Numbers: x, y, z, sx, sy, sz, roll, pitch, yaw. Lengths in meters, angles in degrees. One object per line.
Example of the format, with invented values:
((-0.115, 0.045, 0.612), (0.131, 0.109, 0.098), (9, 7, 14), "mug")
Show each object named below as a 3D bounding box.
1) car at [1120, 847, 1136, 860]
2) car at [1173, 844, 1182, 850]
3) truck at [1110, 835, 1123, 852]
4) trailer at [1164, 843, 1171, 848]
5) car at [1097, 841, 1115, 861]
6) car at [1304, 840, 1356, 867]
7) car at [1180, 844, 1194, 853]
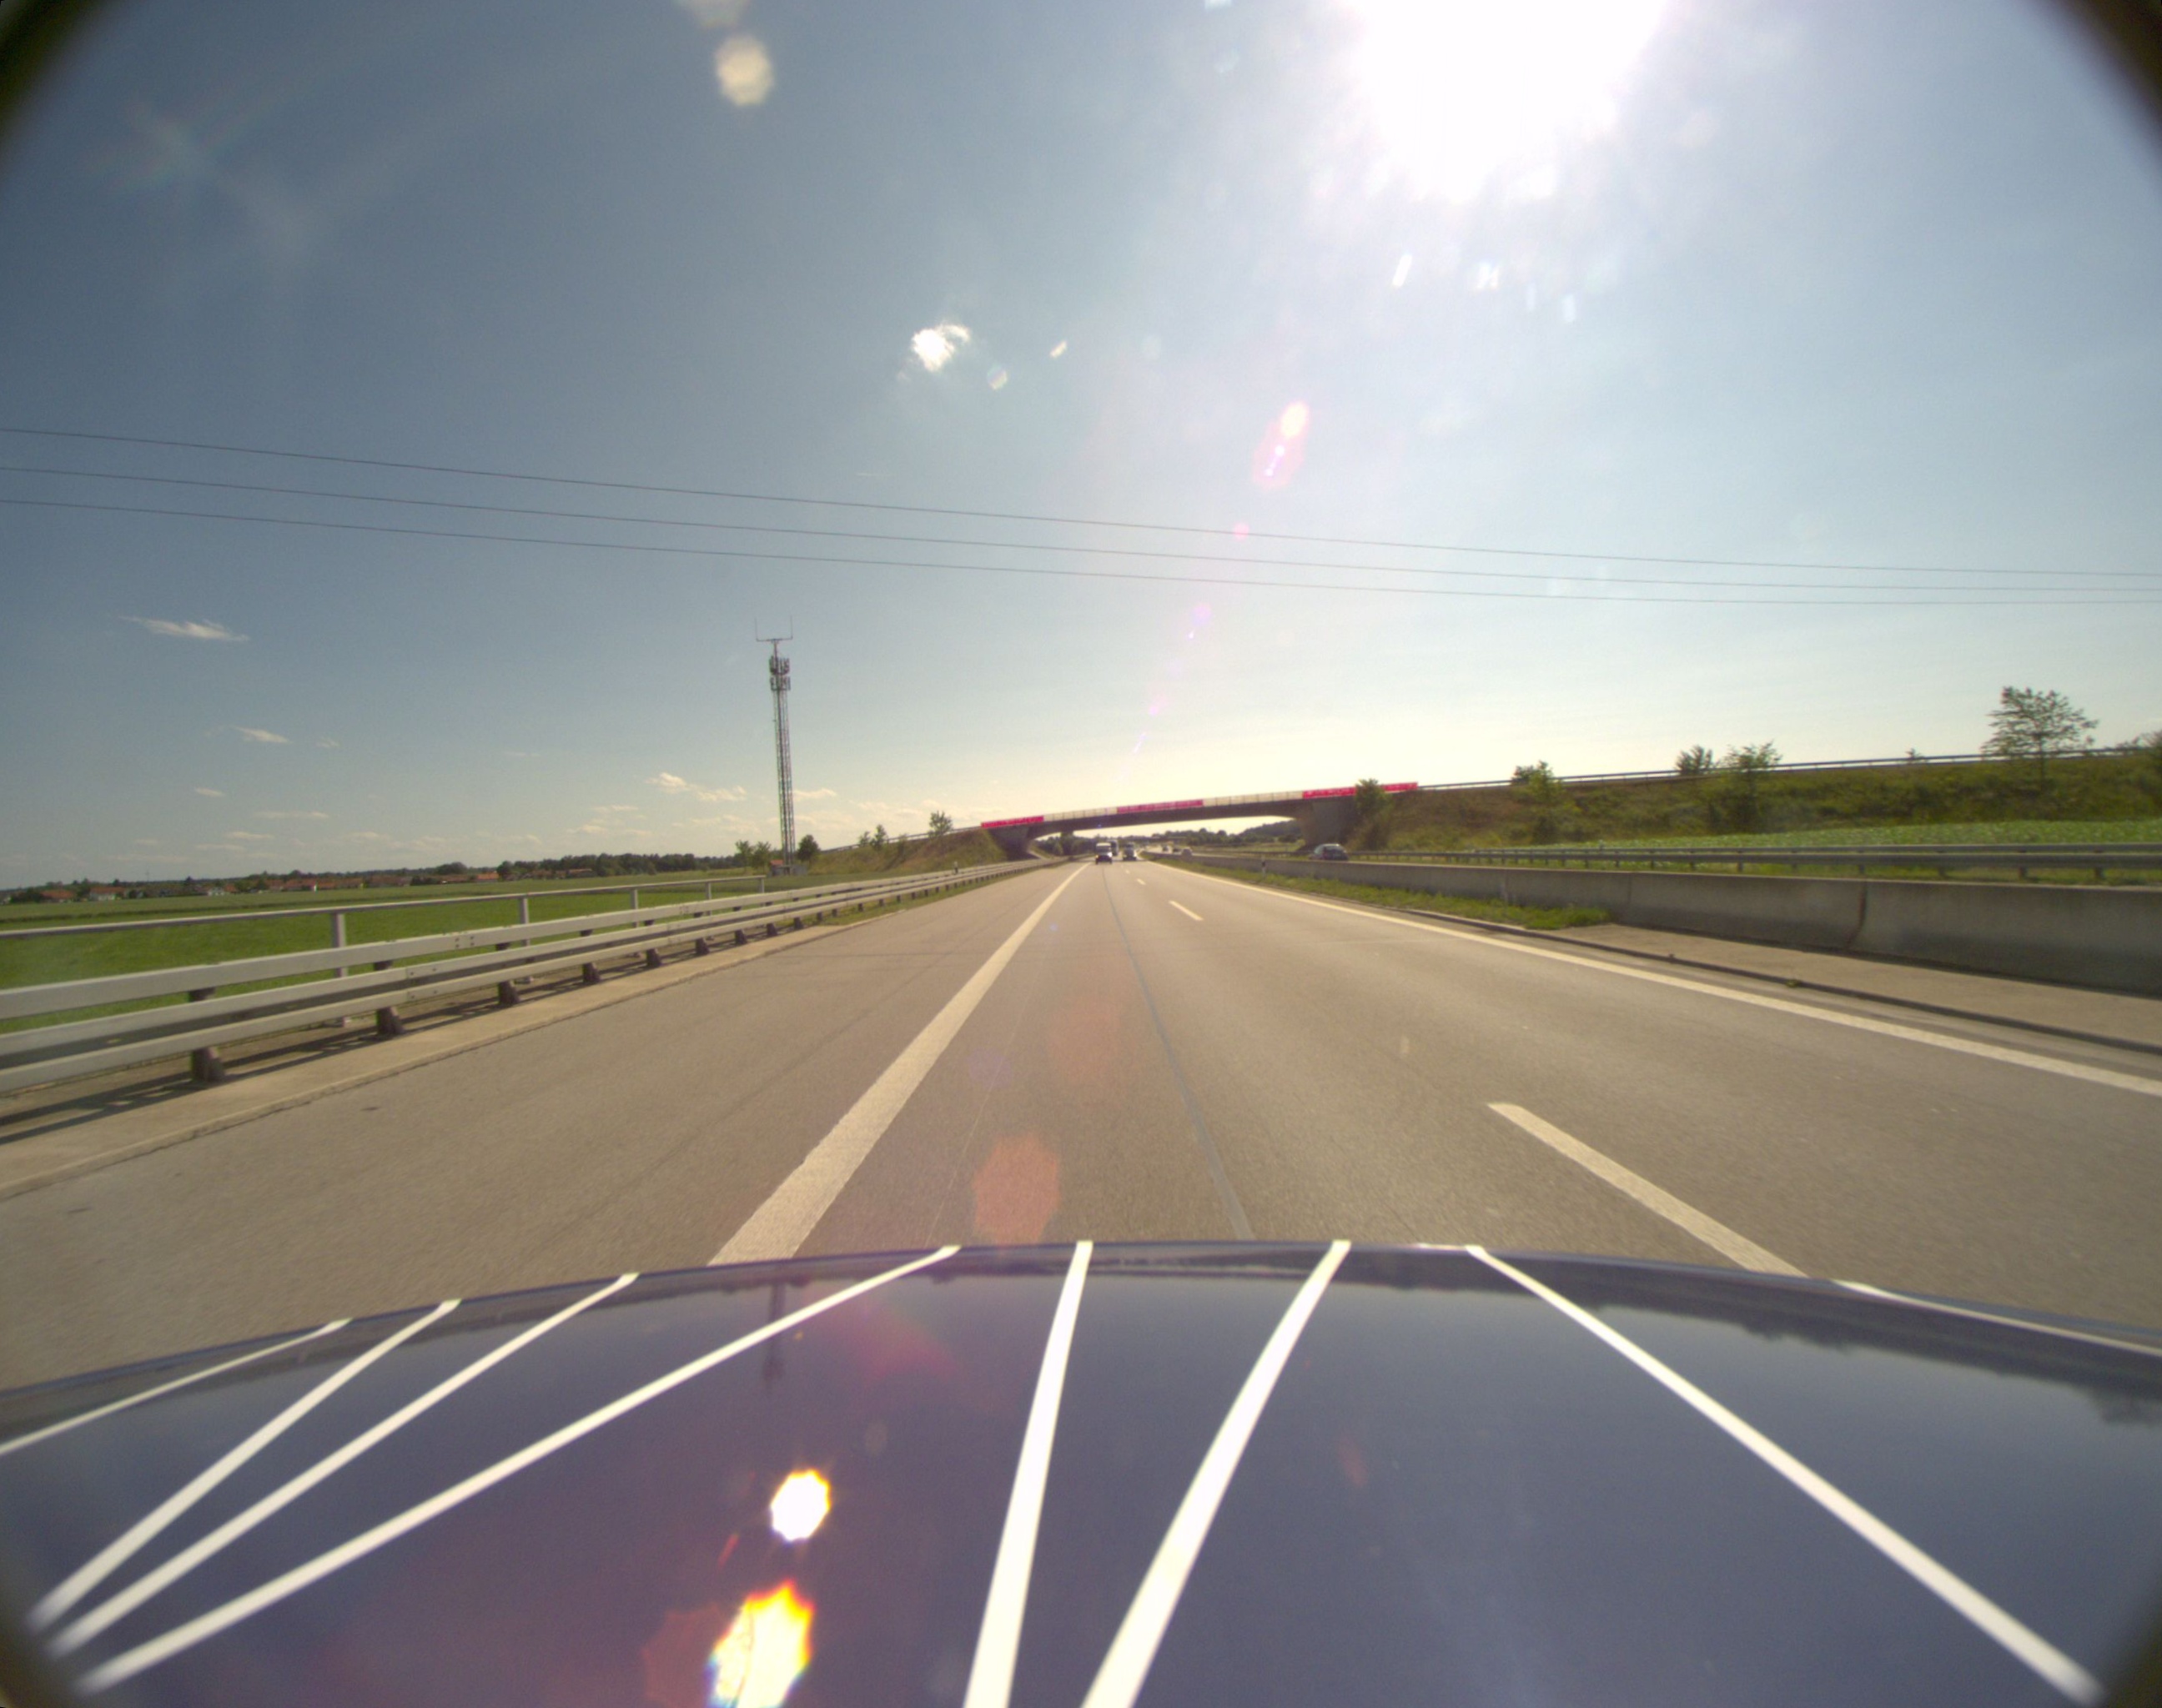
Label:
((6.251, -0.052, 101.754), (2.030, 1.600, 4.818), (-2, 1, 2), "car")
((24.905, -1.795, 196.004), (1.859, 1.452, 4.195), (-2, 1, 2), "car")
((8.441, -2.452, 180.503), (2.762, 3.793, 7.517), (-3, 1, 2), "truck")
((28.124, -2.789, 248.214), (1.998, 1.250, 4.263), (-3, 1, 3), "trailer")
((2.904, -0.375, 87.608), (2.030, 2.225, 4.818), (-2, 1, 2), "car")
((15.951, -0.050, 48.998), (1.864, 1.505, 4.585), (-4, 0, 1), "car")
((19.433, -1.020, 139.683), (1.998, 1.570, 4.896), (-3, 1, 2), "car")
